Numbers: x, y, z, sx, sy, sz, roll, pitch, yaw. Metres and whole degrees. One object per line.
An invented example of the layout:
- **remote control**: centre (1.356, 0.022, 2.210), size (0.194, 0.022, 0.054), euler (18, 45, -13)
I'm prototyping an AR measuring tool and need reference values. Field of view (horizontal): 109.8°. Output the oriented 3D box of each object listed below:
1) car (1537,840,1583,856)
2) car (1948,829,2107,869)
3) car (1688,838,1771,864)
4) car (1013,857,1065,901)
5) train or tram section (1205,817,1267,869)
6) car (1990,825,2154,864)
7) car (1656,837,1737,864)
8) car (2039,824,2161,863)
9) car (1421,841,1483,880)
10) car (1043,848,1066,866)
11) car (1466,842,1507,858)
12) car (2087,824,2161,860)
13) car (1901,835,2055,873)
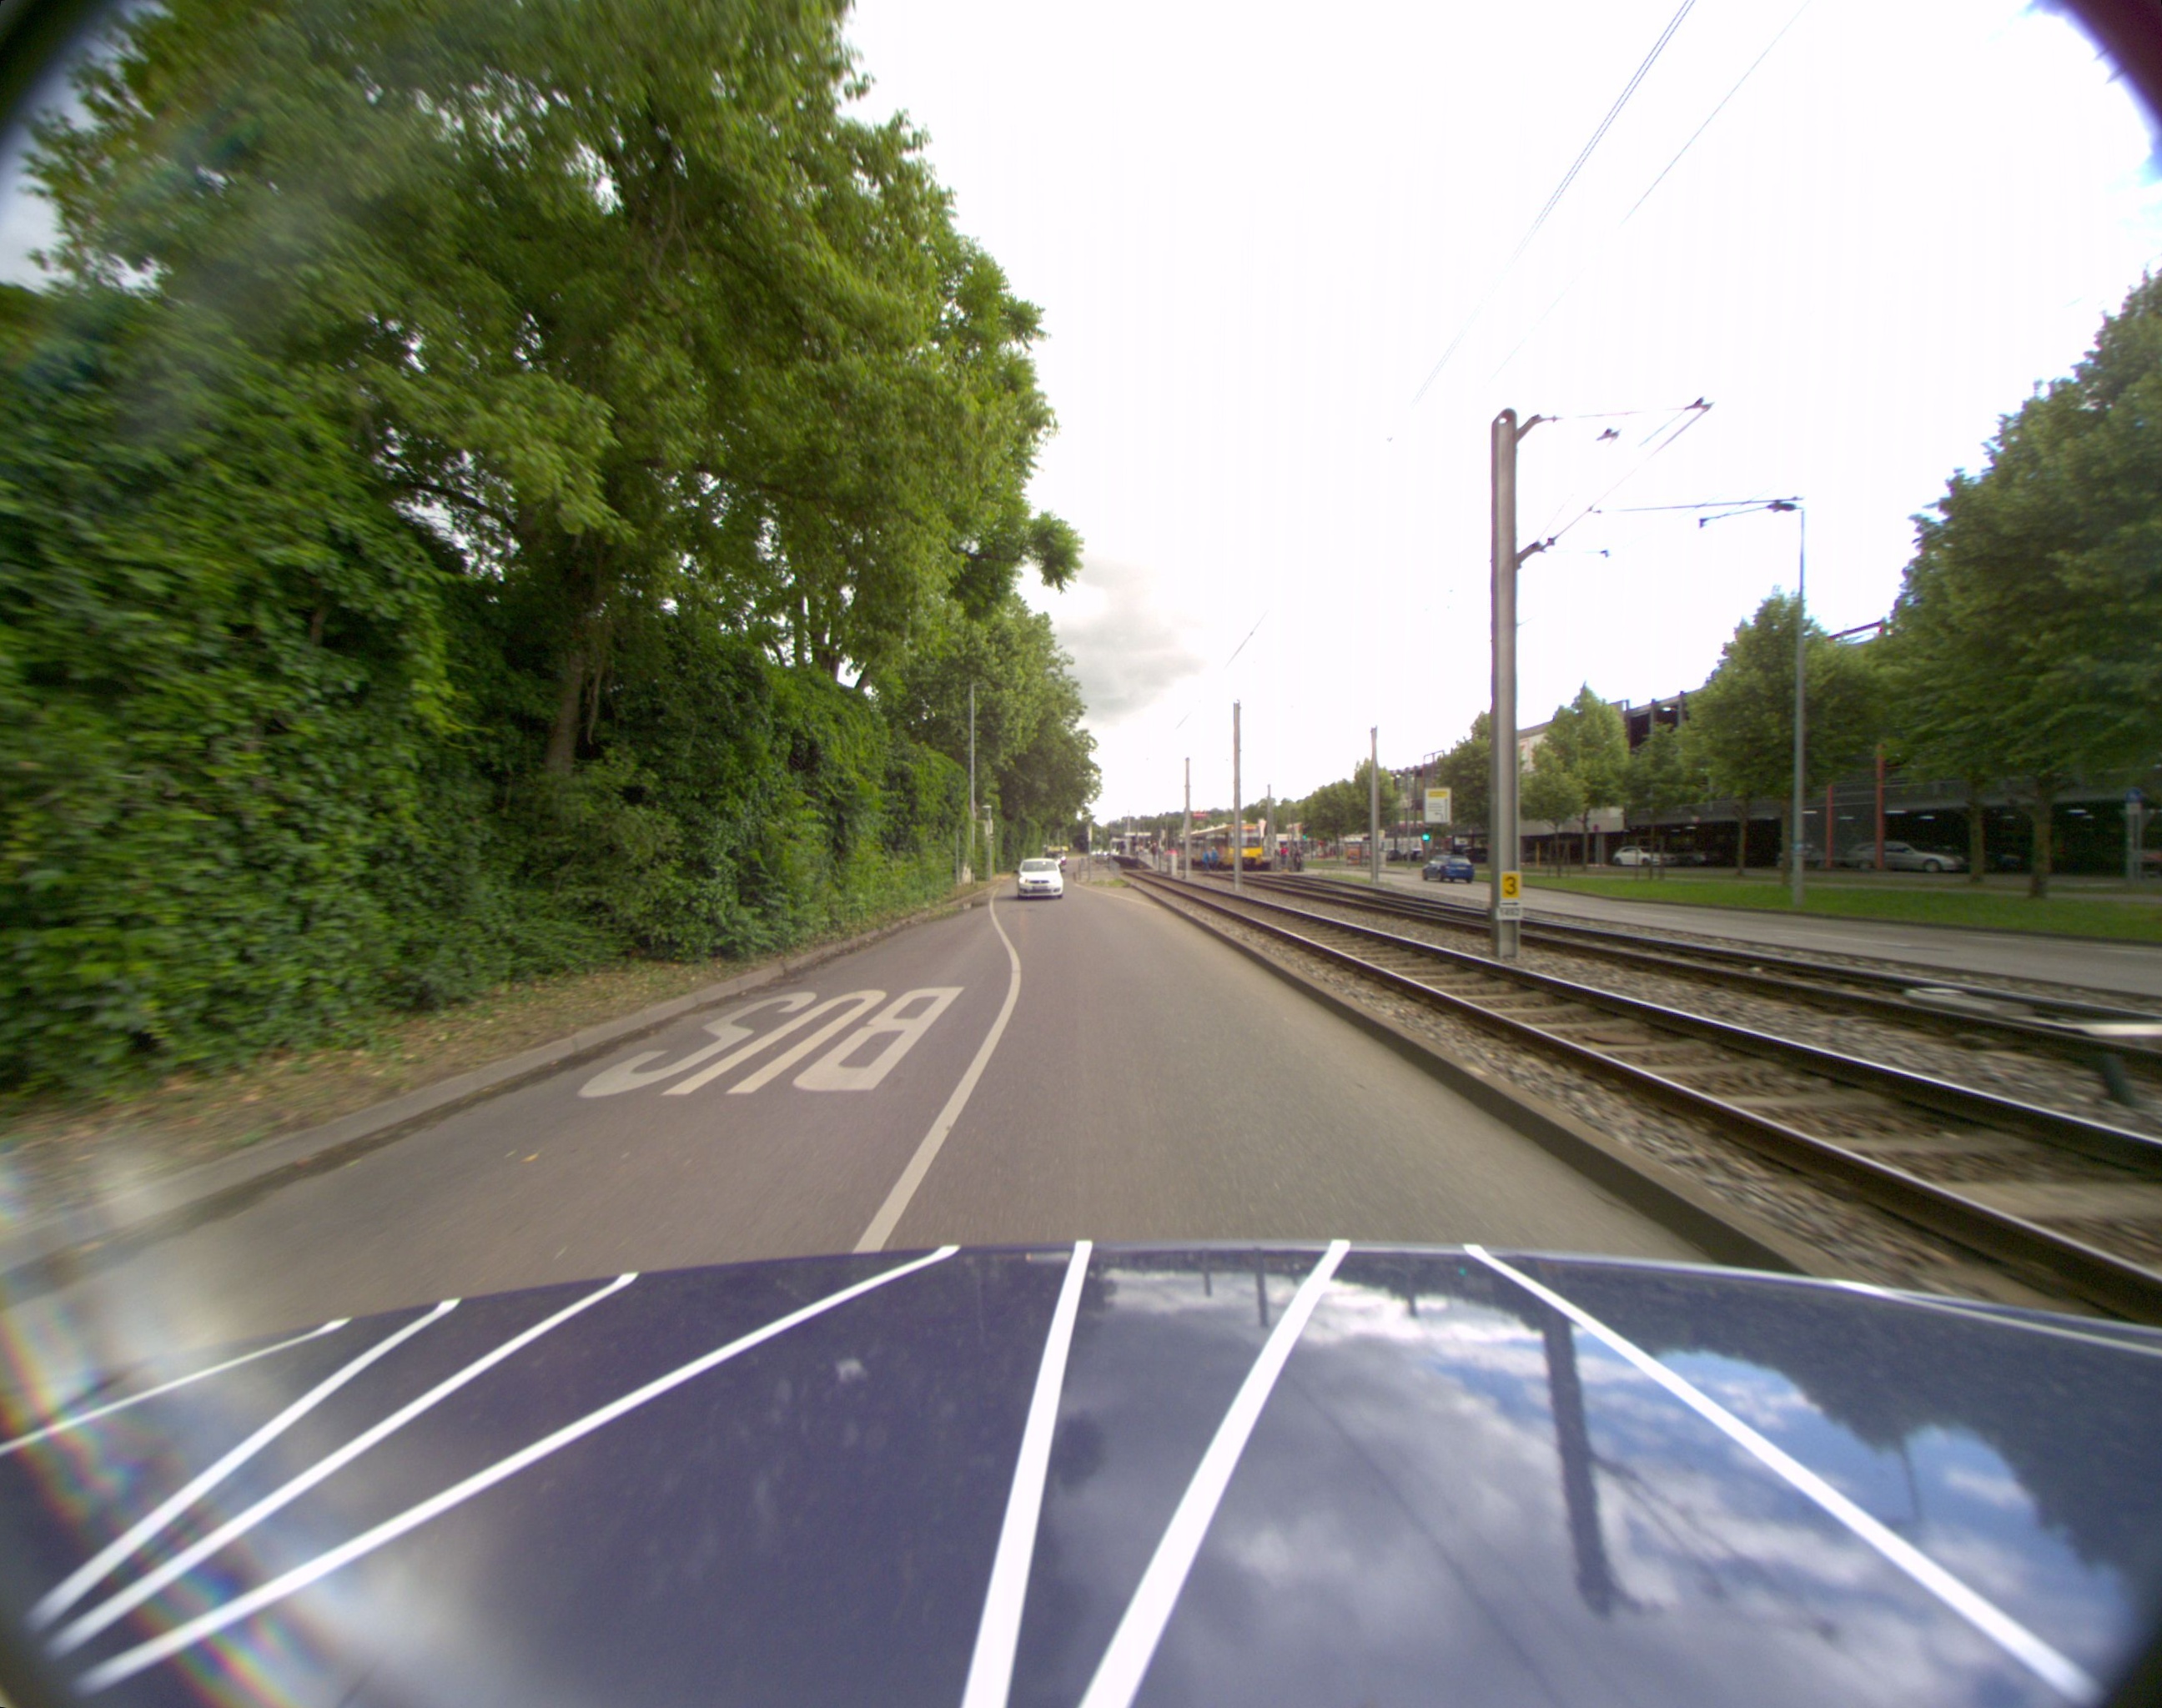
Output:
- **car**: centre (49.836, -0.621, 79.127), size (1.998, 1.618, 4.405), euler (-1, 0, 1)
- **car**: centre (43.950, -0.224, 35.468), size (1.998, 1.689, 4.405), euler (-1, 0, 1)
- **car**: centre (44.132, -0.226, 51.841), size (1.998, 1.689, 4.405), euler (-1, 0, 1)
- **car**: centre (-1.514, 0.879, 28.701), size (1.765, 1.469, 4.030), euler (-2, 0, -1)
- **train or tram section**: centre (12.622, -0.855, 63.082), size (2.777, 3.753, 13.788), euler (-1, 0, 2)
- **car**: centre (46.357, -0.416, 35.735), size (1.998, 1.689, 4.405), euler (-1, 0, 1)
- **car**: centre (41.728, -0.228, 51.646), size (1.998, 1.689, 4.405), euler (-1, 0, 1)
- **car**: centre (48.843, -0.493, 35.753), size (1.998, 1.689, 4.405), euler (-1, 0, 1)
- **car**: centre (20.160, 0.345, 41.434), size (1.997, 2.002, 4.003), euler (-1, 0, 10)
- **car**: centre (-2.507, 0.273, 73.144), size (1.714, 1.586, 4.001), euler (-1, 0, 4)
- **car**: centre (42.142, -0.440, 79.095), size (1.998, 1.618, 4.405), euler (-1, 0, 1)
- **car**: centre (51.185, -0.570, 35.696), size (1.998, 1.689, 4.405), euler (-1, 0, 1)
- **car**: centre (41.458, -0.023, 35.303), size (1.998, 1.618, 4.405), euler (-1, 0, 1)
